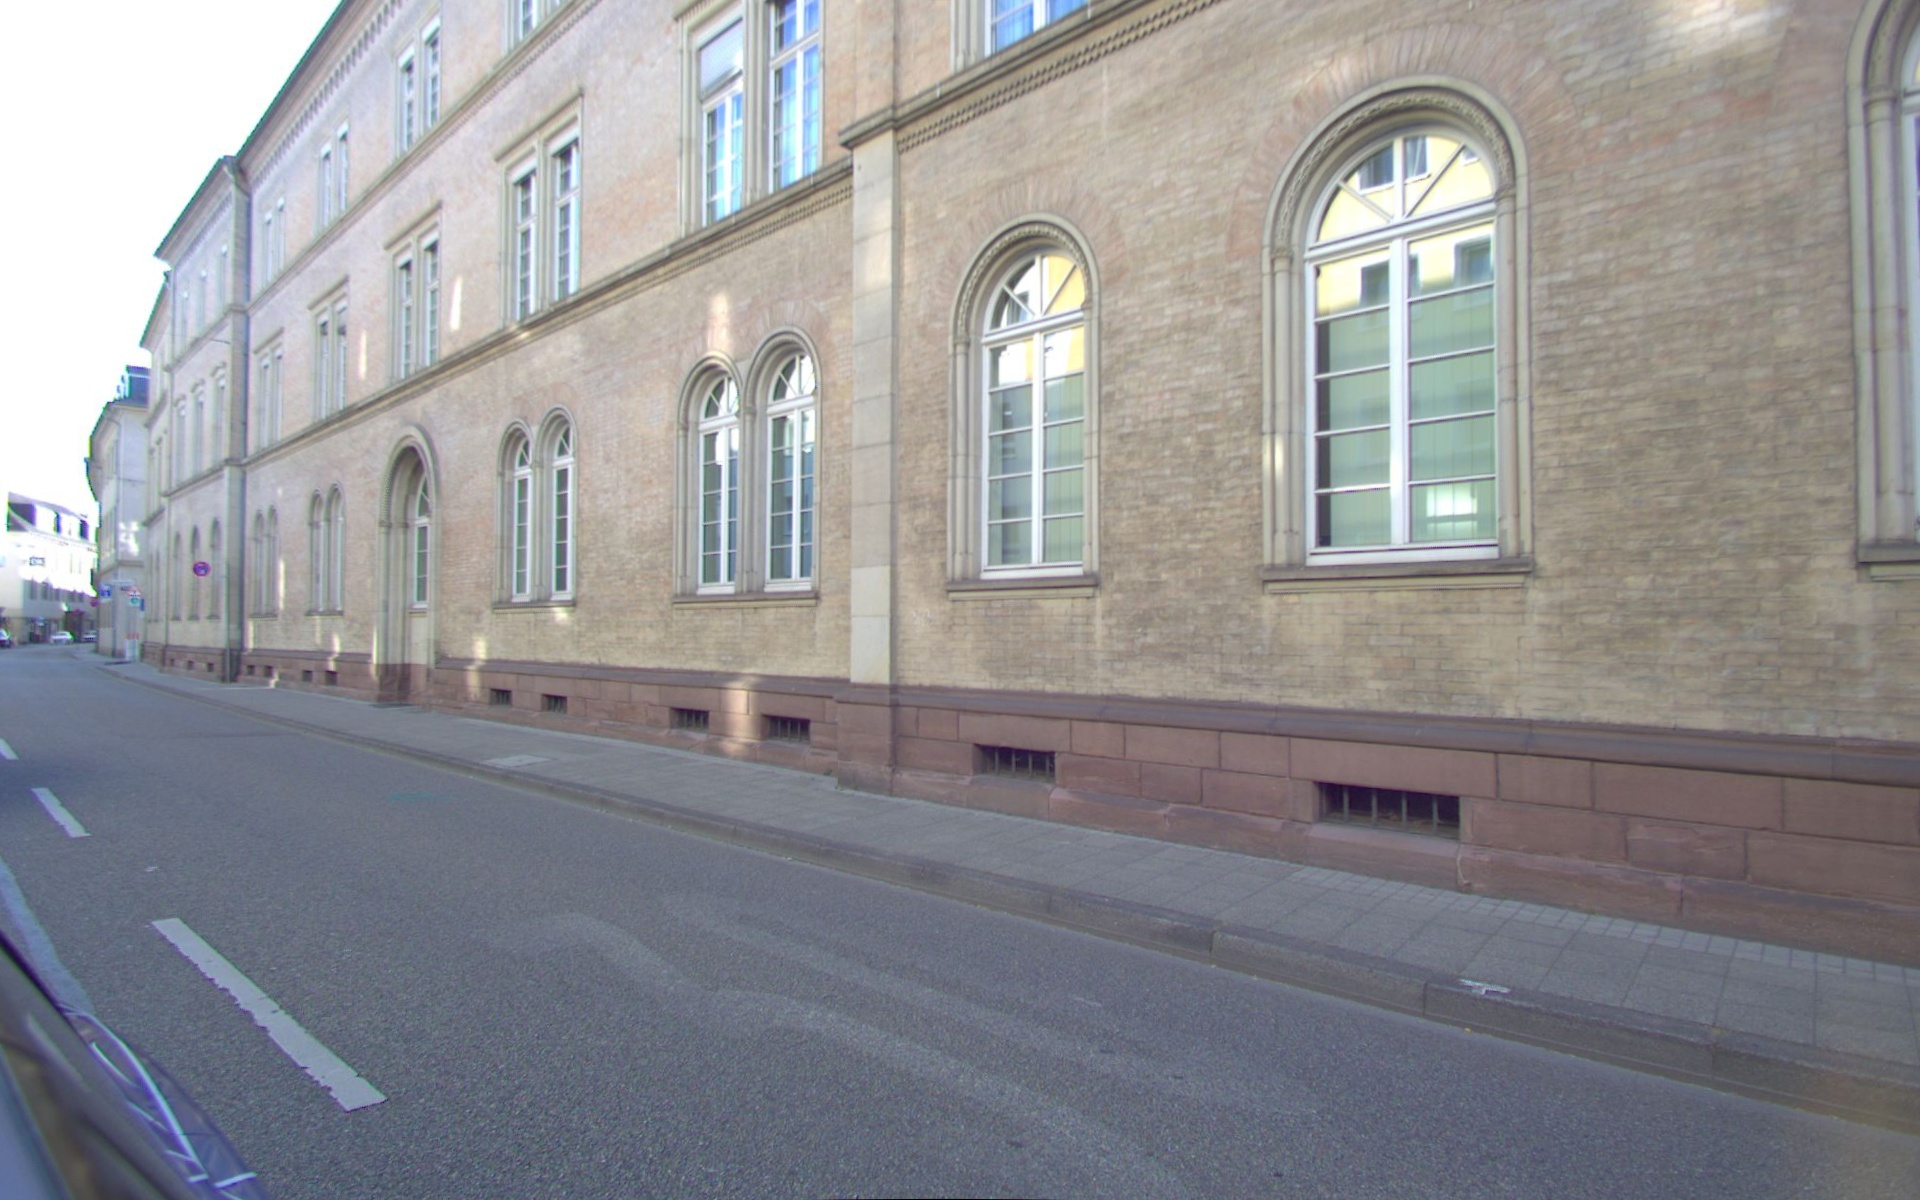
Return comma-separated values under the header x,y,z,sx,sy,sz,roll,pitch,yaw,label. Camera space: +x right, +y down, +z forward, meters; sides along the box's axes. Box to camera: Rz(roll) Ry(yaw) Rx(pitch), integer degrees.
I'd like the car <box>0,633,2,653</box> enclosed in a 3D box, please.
x,y,z,sx,sy,sz,roll,pitch,yaw,label
-86.619,3.872,89.952,1.969,1.665,4.235,-1,0,-41,car

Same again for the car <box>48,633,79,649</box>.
x,y,z,sx,sy,sz,roll,pitch,yaw,label
-102.862,4.656,116.177,1.966,1.665,4.240,-1,0,-33,car

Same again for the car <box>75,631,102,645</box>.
x,y,z,sx,sy,sz,roll,pitch,yaw,label
-109.236,4.732,126.829,1.966,1.665,4.240,-1,0,-33,car
